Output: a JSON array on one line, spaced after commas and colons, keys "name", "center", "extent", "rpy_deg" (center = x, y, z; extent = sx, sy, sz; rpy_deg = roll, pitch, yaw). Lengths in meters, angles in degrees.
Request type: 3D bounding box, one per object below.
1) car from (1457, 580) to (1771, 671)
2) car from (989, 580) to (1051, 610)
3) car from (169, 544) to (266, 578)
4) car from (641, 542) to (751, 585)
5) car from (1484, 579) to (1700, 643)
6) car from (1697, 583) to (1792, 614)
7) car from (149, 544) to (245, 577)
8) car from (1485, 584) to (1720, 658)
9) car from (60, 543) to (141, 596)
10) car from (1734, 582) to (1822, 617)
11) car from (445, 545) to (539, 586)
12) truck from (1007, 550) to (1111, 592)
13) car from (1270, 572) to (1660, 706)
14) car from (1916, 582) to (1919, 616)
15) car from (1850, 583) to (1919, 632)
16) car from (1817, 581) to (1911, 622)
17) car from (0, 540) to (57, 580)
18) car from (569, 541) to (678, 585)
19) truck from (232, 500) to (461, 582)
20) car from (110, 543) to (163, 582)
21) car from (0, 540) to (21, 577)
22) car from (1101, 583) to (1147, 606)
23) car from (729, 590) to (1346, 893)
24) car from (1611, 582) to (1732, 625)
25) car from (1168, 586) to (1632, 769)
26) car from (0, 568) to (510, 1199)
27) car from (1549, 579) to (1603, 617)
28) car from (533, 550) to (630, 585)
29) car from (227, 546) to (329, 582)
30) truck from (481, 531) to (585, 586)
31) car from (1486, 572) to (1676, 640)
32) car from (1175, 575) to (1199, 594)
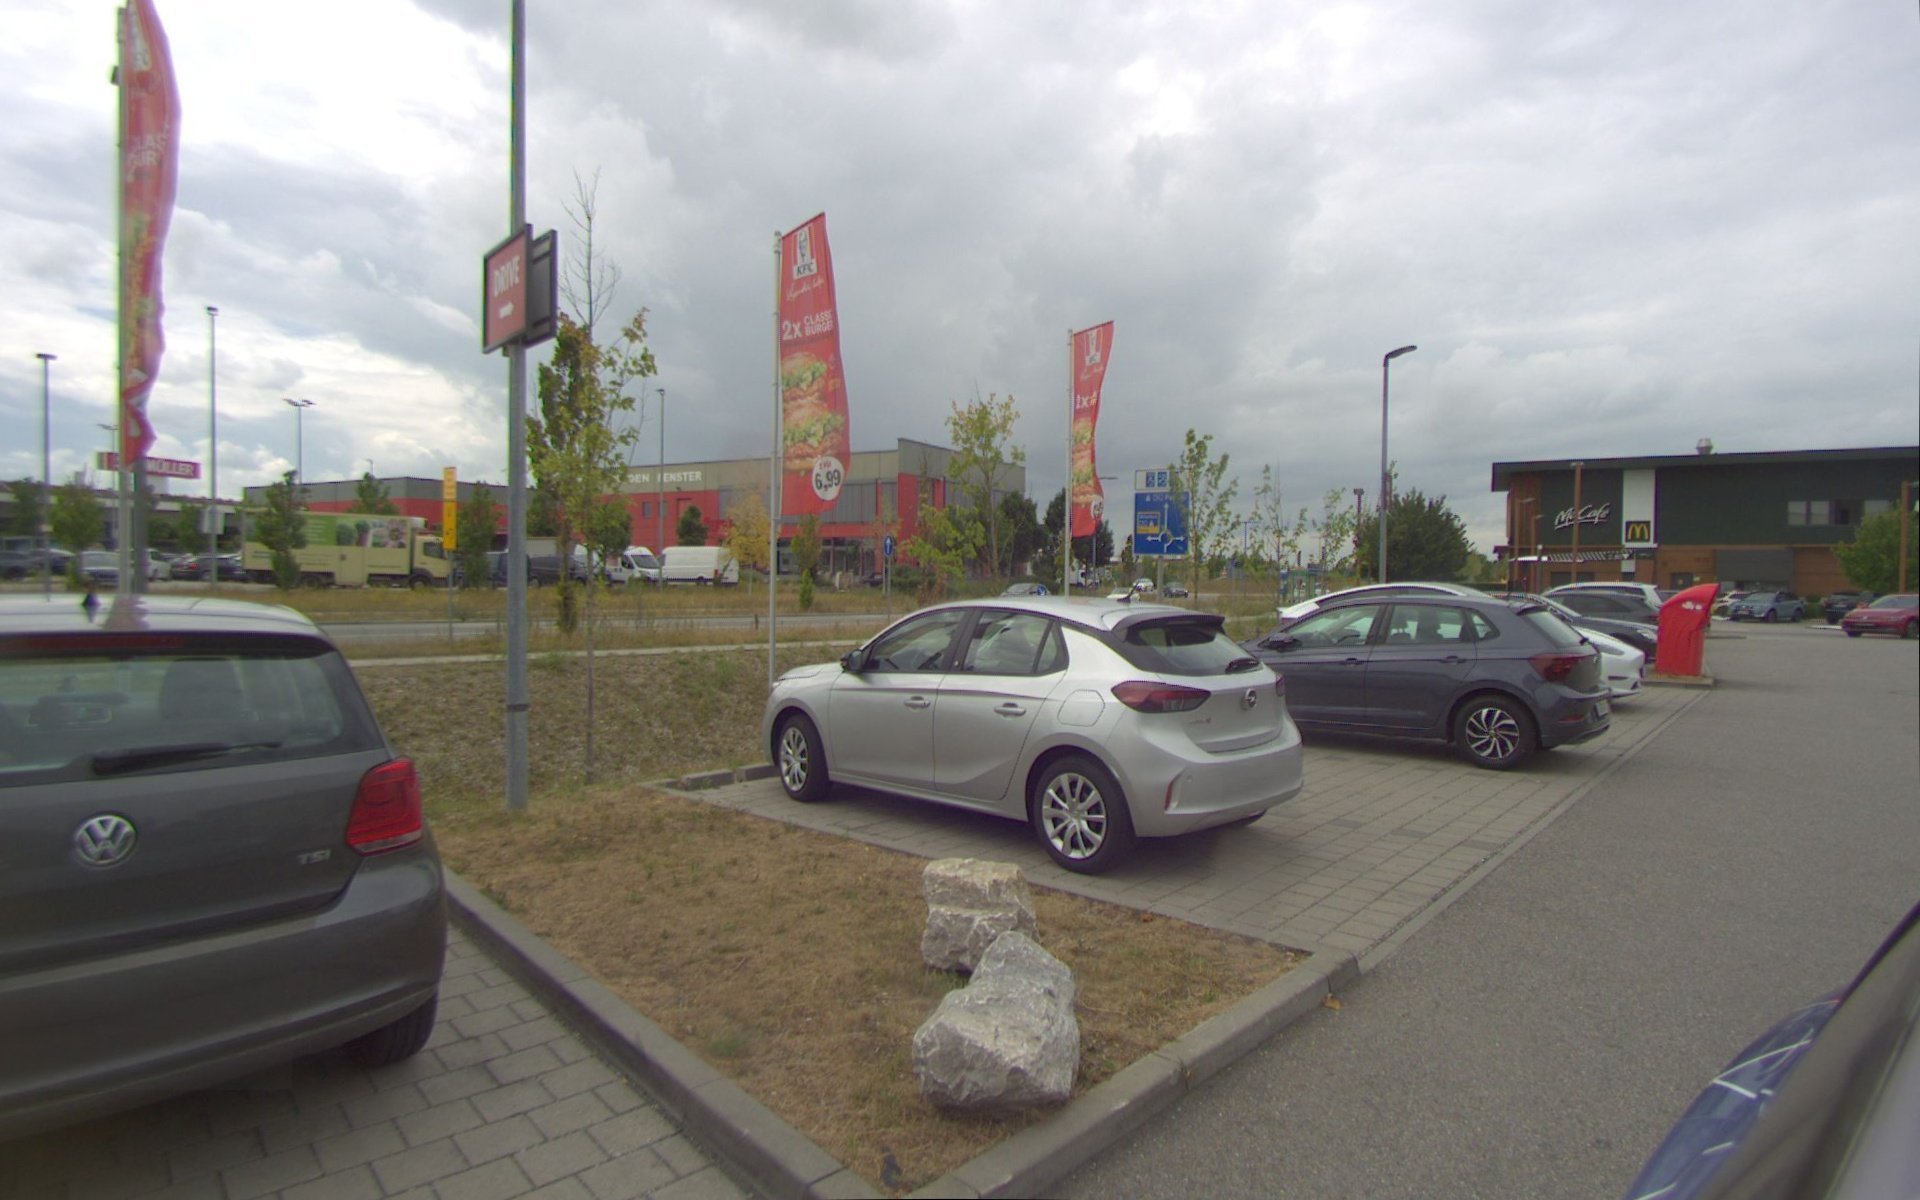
[{"name": "car", "center": [12.018, 0.427, 18.926], "extent": [4.707, 1.474, 1.890], "rpy_deg": [-1, 1, 33]}, {"name": "car", "center": [3.292, -0.265, 54.627], "extent": [1.740, 1.510, 4.087], "rpy_deg": [2, 0, 29]}, {"name": "car", "center": [-41.680, -2.151, 56.892], "extent": [1.982, 1.793, 3.961], "rpy_deg": [3, 2, 28]}, {"name": "car", "center": [-15.645, -2.186, 59.769], "extent": [6.449, 2.295, 2.322], "rpy_deg": [3, 2, 29]}, {"name": "car", "center": [15.882, 0.269, 25.657], "extent": [4.482, 1.485, 1.925], "rpy_deg": [-1, 0, 33]}, {"name": "car", "center": [44.787, -0.119, 57.866], "extent": [3.963, 1.524, 1.772], "rpy_deg": [3, 2, 28]}, {"name": "car", "center": [-43.710, -2.251, 58.042], "extent": [1.983, 1.793, 3.960], "rpy_deg": [3, 2, 29]}, {"name": "car", "center": [13.487, 0.410, 21.459], "extent": [4.040, 1.430, 1.866], "rpy_deg": [-1, 0, 33]}, {"name": "car", "center": [-32.265, -1.170, 37.957], "extent": [4.308, 1.793, 1.901], "rpy_deg": [4, 3, 44]}, {"name": "car", "center": [41.448, -0.036, 51.281], "extent": [3.823, 1.604, 1.755], "rpy_deg": [1, 2, -22]}, {"name": "car", "center": [-23.068, -1.680, 49.808], "extent": [5.040, 1.908, 2.050], "rpy_deg": [1, 1, 37]}, {"name": "truck", "center": [11.597, -3.470, 119.253], "extent": [11.929, 4.554, 3.718], "rpy_deg": [3, 3, 36]}, {"name": "car", "center": [6.840, 0.462, 13.977], "extent": [4.523, 1.560, 1.898], "rpy_deg": [-1, 0, 40]}, {"name": "car", "center": [50.395, 0.032, 51.219], "extent": [1.735, 1.775, 3.965], "rpy_deg": [3, 2, 26]}, {"name": "car", "center": [30.939, 0.254, 32.545], "extent": [3.915, 1.482, 1.691], "rpy_deg": [1, 0, -18]}, {"name": "car", "center": [44.101, 0.063, 49.368], "extent": [3.917, 1.771, 2.004], "rpy_deg": [2, 2, -26]}, {"name": "car", "center": [-44.544, -1.874, 46.453], "extent": [1.984, 1.793, 4.275], "rpy_deg": [3, 3, 30]}, {"name": "car", "center": [-18.719, -2.073, 56.176], "extent": [6.011, 2.241, 2.390], "rpy_deg": [3, 2, 31]}, {"name": "truck", "center": [-26.861, -2.531, 44.836], "extent": [8.255, 3.235, 3.037], "rpy_deg": [1, 2, -22]}, {"name": "car", "center": [-40.885, -1.866, 50.207], "extent": [1.965, 1.793, 3.996], "rpy_deg": [0, 3, -41]}, {"name": "car", "center": [-49.004, -2.067, 49.414], "extent": [1.985, 1.793, 4.272], "rpy_deg": [3, 3, 32]}, {"name": "car", "center": [11.380, -0.347, 70.001], "extent": [1.741, 1.510, 4.083], "rpy_deg": [2, 0, 31]}, {"name": "car", "center": [0.294, 0.674, 6.823], "extent": [3.927, 1.430, 1.810], "rpy_deg": [-1, 0, 45]}, {"name": "car", "center": [25.287, 0.123, 35.963], "extent": [3.848, 1.430, 1.691], "rpy_deg": [1, 0, -22]}, {"name": "car", "center": [4.120, 0.610, 9.805], "extent": [3.792, 1.430, 1.712], "rpy_deg": [-1, 0, 42]}, {"name": "car", "center": [-3.180, 0.658, 3.649], "extent": [1.698, 1.446, 3.992], "rpy_deg": [0, 0, -42]}, {"name": "car", "center": [30.727, -0.128, 50.579], "extent": [1.793, 1.710, 4.154], "rpy_deg": [3, 2, 25]}, {"name": "car", "center": [-19.954, -1.703, 53.293], "extent": [5.030, 1.659, 2.055], "rpy_deg": [3, 2, 31]}, {"name": "car", "center": [-36.433, -1.907, 54.173], "extent": [1.981, 1.793, 4.103], "rpy_deg": [3, 2, 27]}, {"name": "truck", "center": [-31.558, -3.122, 74.642], "extent": [8.187, 3.789, 2.629], "rpy_deg": [3, 2, 30]}, {"name": "car", "center": [17.148, 0.164, 28.097], "extent": [4.340, 1.735, 1.969], "rpy_deg": [-1, 0, 33]}, {"name": "car", "center": [22.377, -1.536, 99.737], "extent": [1.967, 1.726, 3.992], "rpy_deg": [1, 3, 9]}]
